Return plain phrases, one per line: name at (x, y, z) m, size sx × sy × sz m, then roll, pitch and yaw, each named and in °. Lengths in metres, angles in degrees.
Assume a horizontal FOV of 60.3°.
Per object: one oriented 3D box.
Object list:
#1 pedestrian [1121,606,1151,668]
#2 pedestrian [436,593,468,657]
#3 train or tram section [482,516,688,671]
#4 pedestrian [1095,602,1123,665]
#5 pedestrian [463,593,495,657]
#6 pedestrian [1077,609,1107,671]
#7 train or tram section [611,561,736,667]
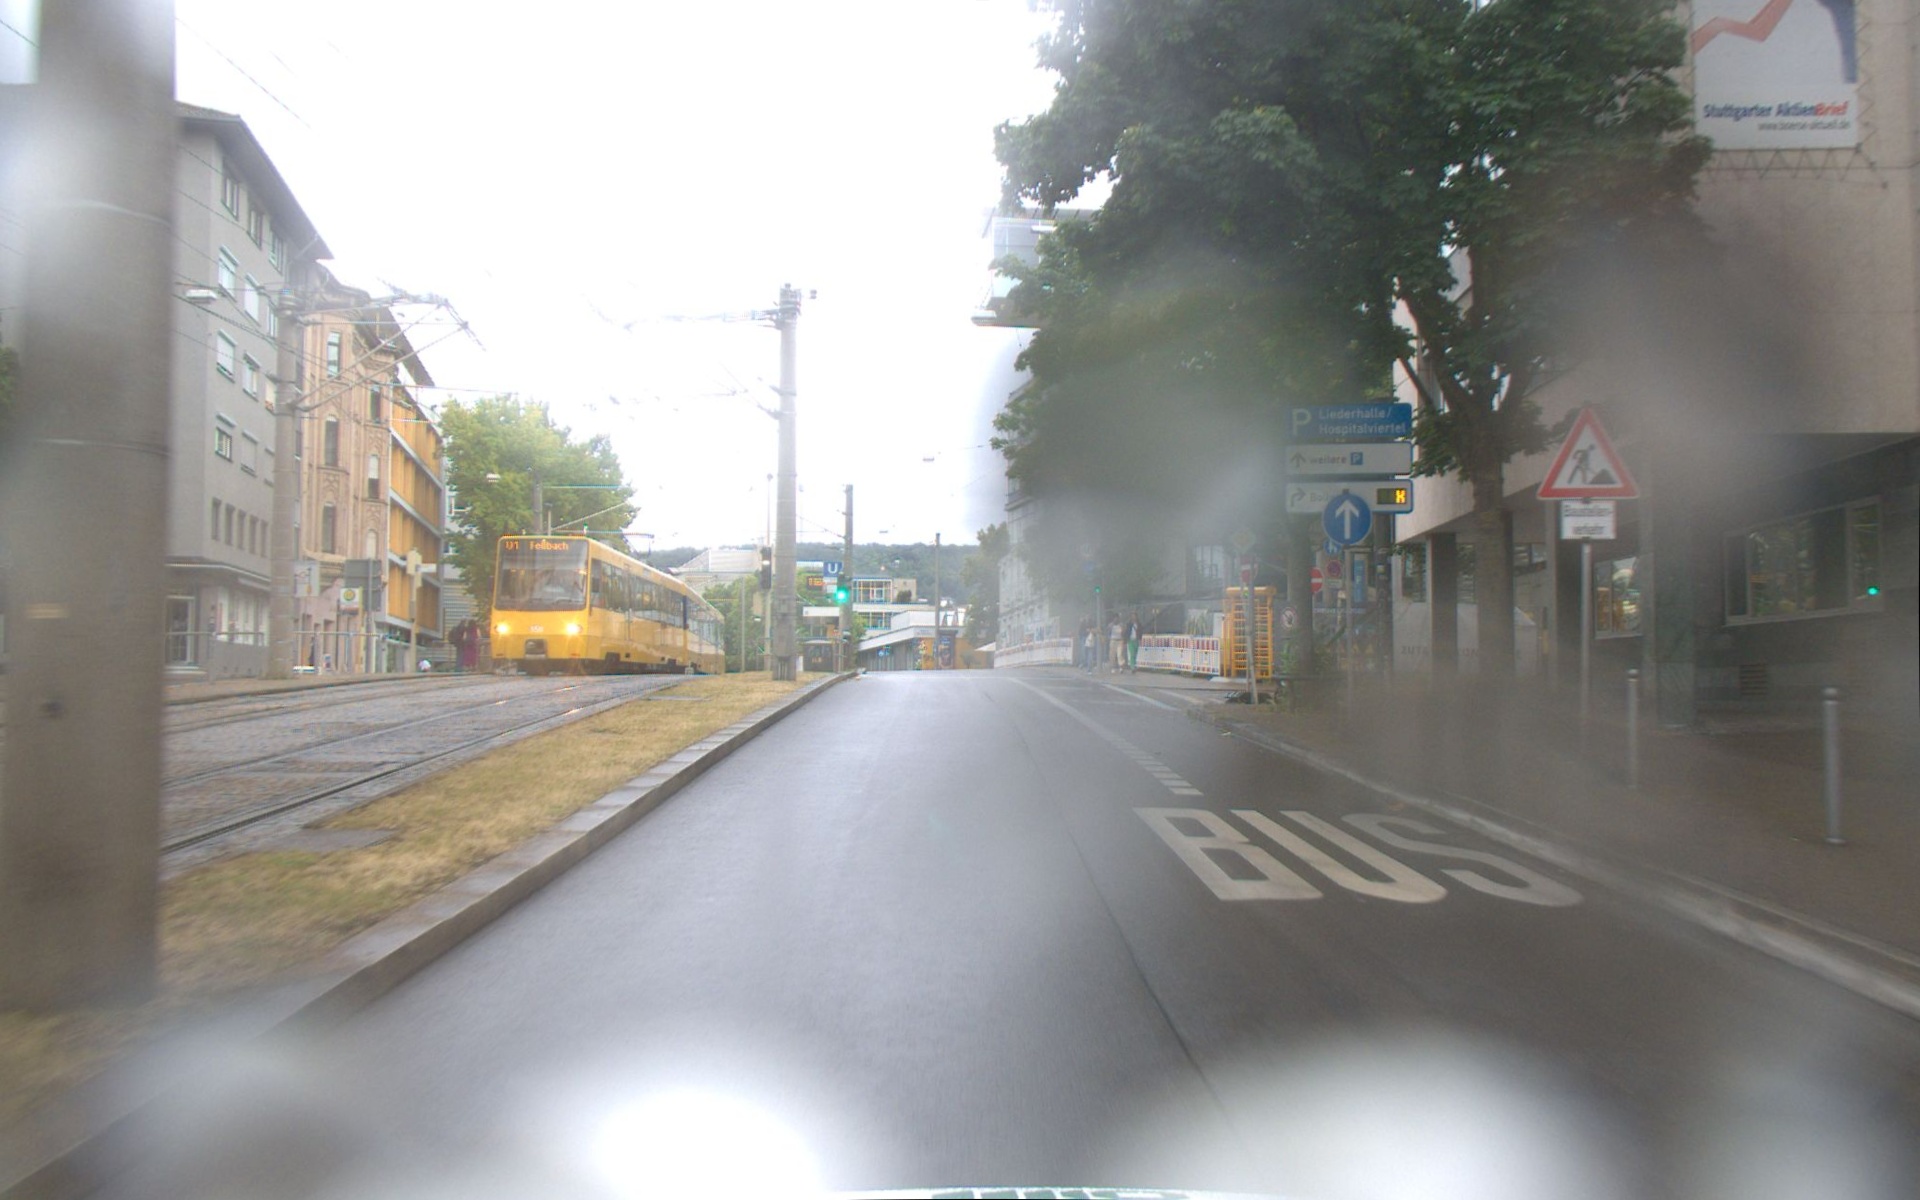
pedestrian at (5.189, 1.080, 48.730) m, size 0.686 × 1.816 × 1.066 m, roll 0°, pitch -1°, yaw -4°
pedestrian at (-14.621, 0.718, 47.657) m, size 0.717 × 1.822 × 0.696 m, roll 0°, pitch -1°, yaw -2°
train or tram section at (-10.762, 0.175, 50.064) m, size 2.691 × 3.762 × 18.957 m, roll 1°, pitch -2°, yaw -3°
pedestrian at (4.418, 0.997, 49.214) m, size 0.686 × 1.847 × 0.976 m, roll 0°, pitch -1°, yaw -4°
pedestrian at (-13.808, 0.713, 47.495) m, size 0.717 × 1.822 × 0.696 m, roll 0°, pitch -1°, yaw -2°
pedestrian at (3.830, 1.150, 47.992) m, size 0.722 × 1.760 × 1.117 m, roll 0°, pitch -1°, yaw -4°
train or tram section at (-11.587, 0.838, 68.998) m, size 2.691 × 3.762 × 18.957 m, roll 1°, pitch -2°, yaw -3°
